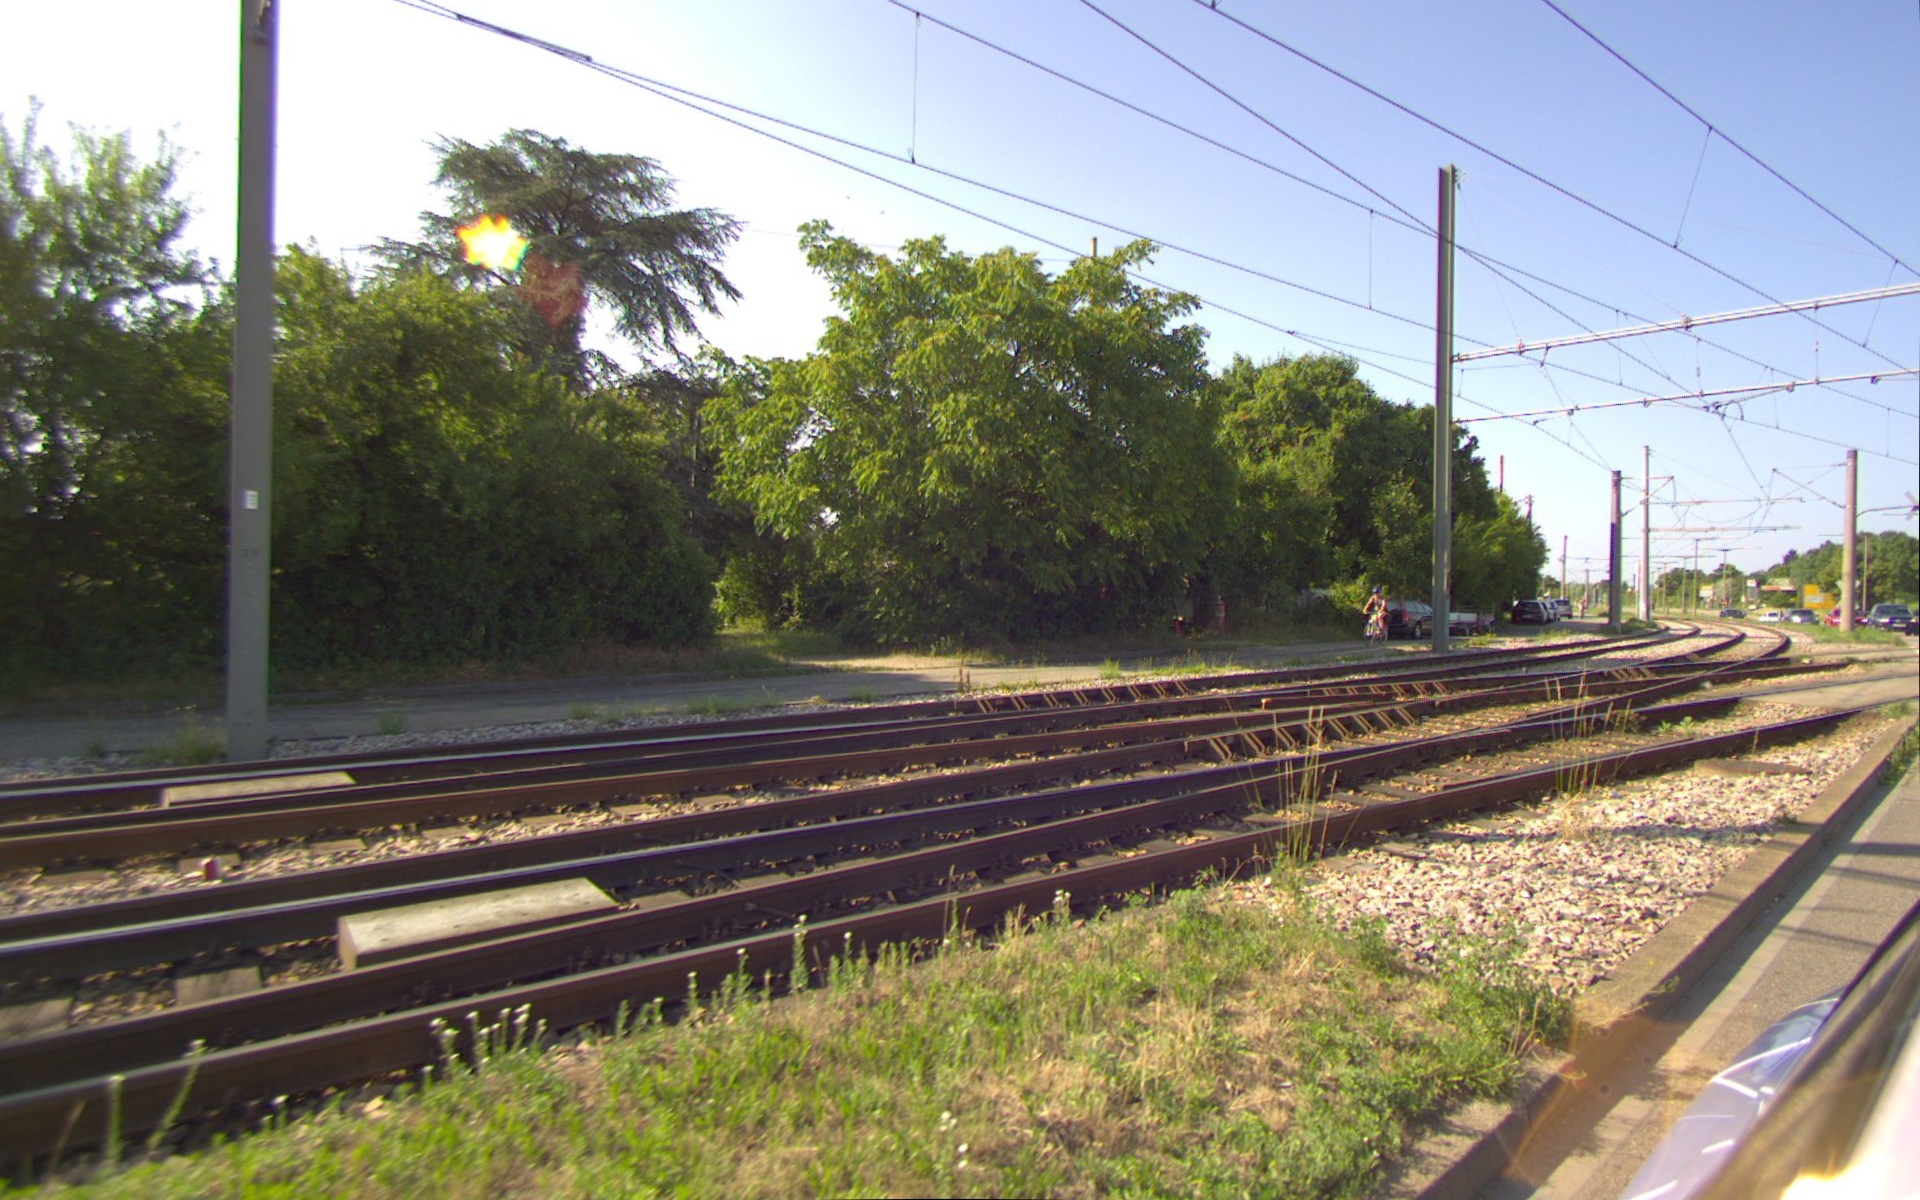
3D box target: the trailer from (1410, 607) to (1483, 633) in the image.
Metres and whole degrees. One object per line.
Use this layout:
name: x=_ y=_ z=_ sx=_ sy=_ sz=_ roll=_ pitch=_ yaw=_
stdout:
trailer: x=19.977 y=0.805 z=41.489 sx=1.730 sy=0.951 sz=3.671 roll=-3 pitch=-2 yaw=42

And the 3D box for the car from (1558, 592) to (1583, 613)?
car: x=50.579 y=0.207 z=83.851 sx=1.514 sy=1.630 sz=4.438 roll=2 pitch=1 yaw=29

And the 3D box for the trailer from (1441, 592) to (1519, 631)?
trailer: x=22.794 y=0.510 z=44.310 sx=2.025 sy=1.617 sz=4.195 roll=-2 pitch=-1 yaw=42

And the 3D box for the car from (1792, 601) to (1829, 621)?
car: x=67.024 y=0.835 z=79.785 sx=1.596 sy=1.532 sz=4.220 roll=-1 pitch=-1 yaw=31

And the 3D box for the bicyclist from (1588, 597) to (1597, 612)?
bicyclist: x=53.320 y=0.390 z=85.304 sx=0.636 sy=1.249 sz=0.783 roll=0 pitch=-1 yaw=29

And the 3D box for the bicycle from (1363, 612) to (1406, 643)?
bicycle: x=13.243 y=0.831 z=31.565 sx=0.643 sy=0.921 sz=1.815 roll=0 pitch=0 yaw=43

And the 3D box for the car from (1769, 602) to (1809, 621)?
car: x=73.060 y=0.986 z=89.238 sx=1.951 sy=1.639 sz=4.266 roll=0 pitch=0 yaw=28

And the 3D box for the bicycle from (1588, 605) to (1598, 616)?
bicycle: x=53.307 y=0.890 z=85.273 sx=0.639 sy=0.921 sz=1.795 roll=0 pitch=0 yaw=29

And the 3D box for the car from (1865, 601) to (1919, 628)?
car: x=48.503 y=0.733 z=52.531 sx=1.837 sy=1.373 sz=4.100 roll=-1 pitch=-1 yaw=36

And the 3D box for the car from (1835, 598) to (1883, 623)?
car: x=59.944 y=0.698 z=67.523 sx=1.836 sy=1.616 sz=3.692 roll=-1 pitch=-1 yaw=34

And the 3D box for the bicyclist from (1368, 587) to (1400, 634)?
bicyclist: x=13.219 y=0.312 z=31.533 sx=0.629 sy=1.440 sz=0.947 roll=0 pitch=0 yaw=44

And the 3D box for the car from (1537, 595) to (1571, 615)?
car: x=43.613 y=0.371 z=74.285 sx=1.674 sy=1.448 sz=3.858 roll=-1 pitch=-1 yaw=38

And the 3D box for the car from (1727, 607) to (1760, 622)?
car: x=79.010 y=1.456 z=102.126 sx=1.820 sy=1.532 sz=4.115 roll=-1 pitch=-1 yaw=26

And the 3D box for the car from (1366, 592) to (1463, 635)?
car: x=16.982 y=0.514 z=37.696 sx=1.698 sy=1.475 sz=4.801 roll=-3 pitch=-2 yaw=45
